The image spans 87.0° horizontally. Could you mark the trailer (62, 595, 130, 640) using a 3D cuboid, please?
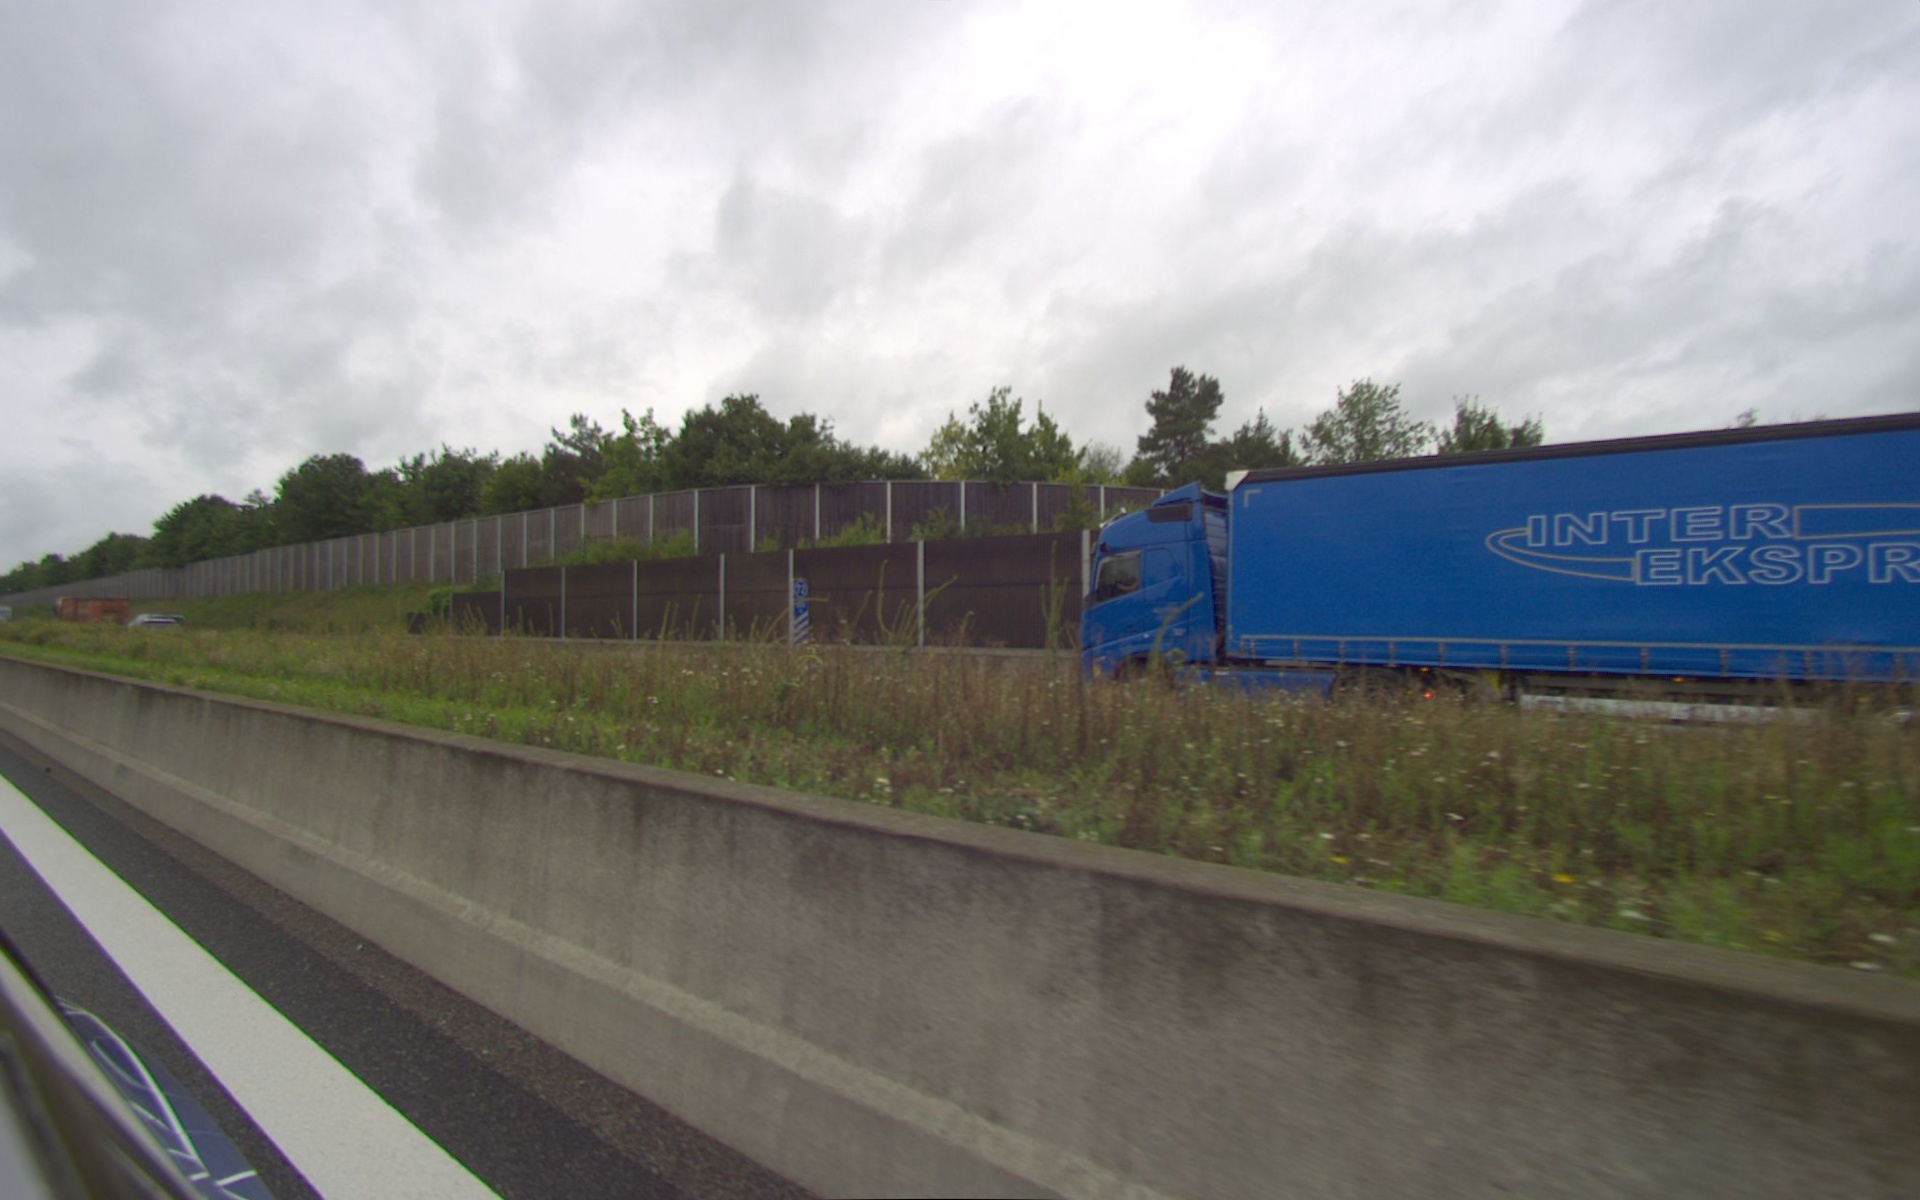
[{"bbox_3d":[-75.093,1.563,87.807,12.557,3.712,2.698,-1,-2,41],"label":"trailer"}]

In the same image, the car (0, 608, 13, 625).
[{"bbox_3d":[-132.471,2.279,139.209,4.731,2.275,2.797,-1,0,41],"label":"car"}]

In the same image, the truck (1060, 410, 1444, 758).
[{"bbox_3d":[4.854,-0.216,17.193,5.414,4.895,3.156,-1,0,40],"label":"truck"}]

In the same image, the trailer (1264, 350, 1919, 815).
[{"bbox_3d":[10.833,-0.199,12.223,13.514,4.922,3.185,-1,0,40],"label":"trailer"}]

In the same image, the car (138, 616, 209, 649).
[{"bbox_3d":[-39.870,1.630,51.267,4.767,1.552,1.973,-1,0,41],"label":"car"}]

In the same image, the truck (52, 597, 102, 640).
[{"bbox_3d":[-81.560,1.672,93.443,6.477,3.734,2.668,-1,0,41],"label":"truck"}]
